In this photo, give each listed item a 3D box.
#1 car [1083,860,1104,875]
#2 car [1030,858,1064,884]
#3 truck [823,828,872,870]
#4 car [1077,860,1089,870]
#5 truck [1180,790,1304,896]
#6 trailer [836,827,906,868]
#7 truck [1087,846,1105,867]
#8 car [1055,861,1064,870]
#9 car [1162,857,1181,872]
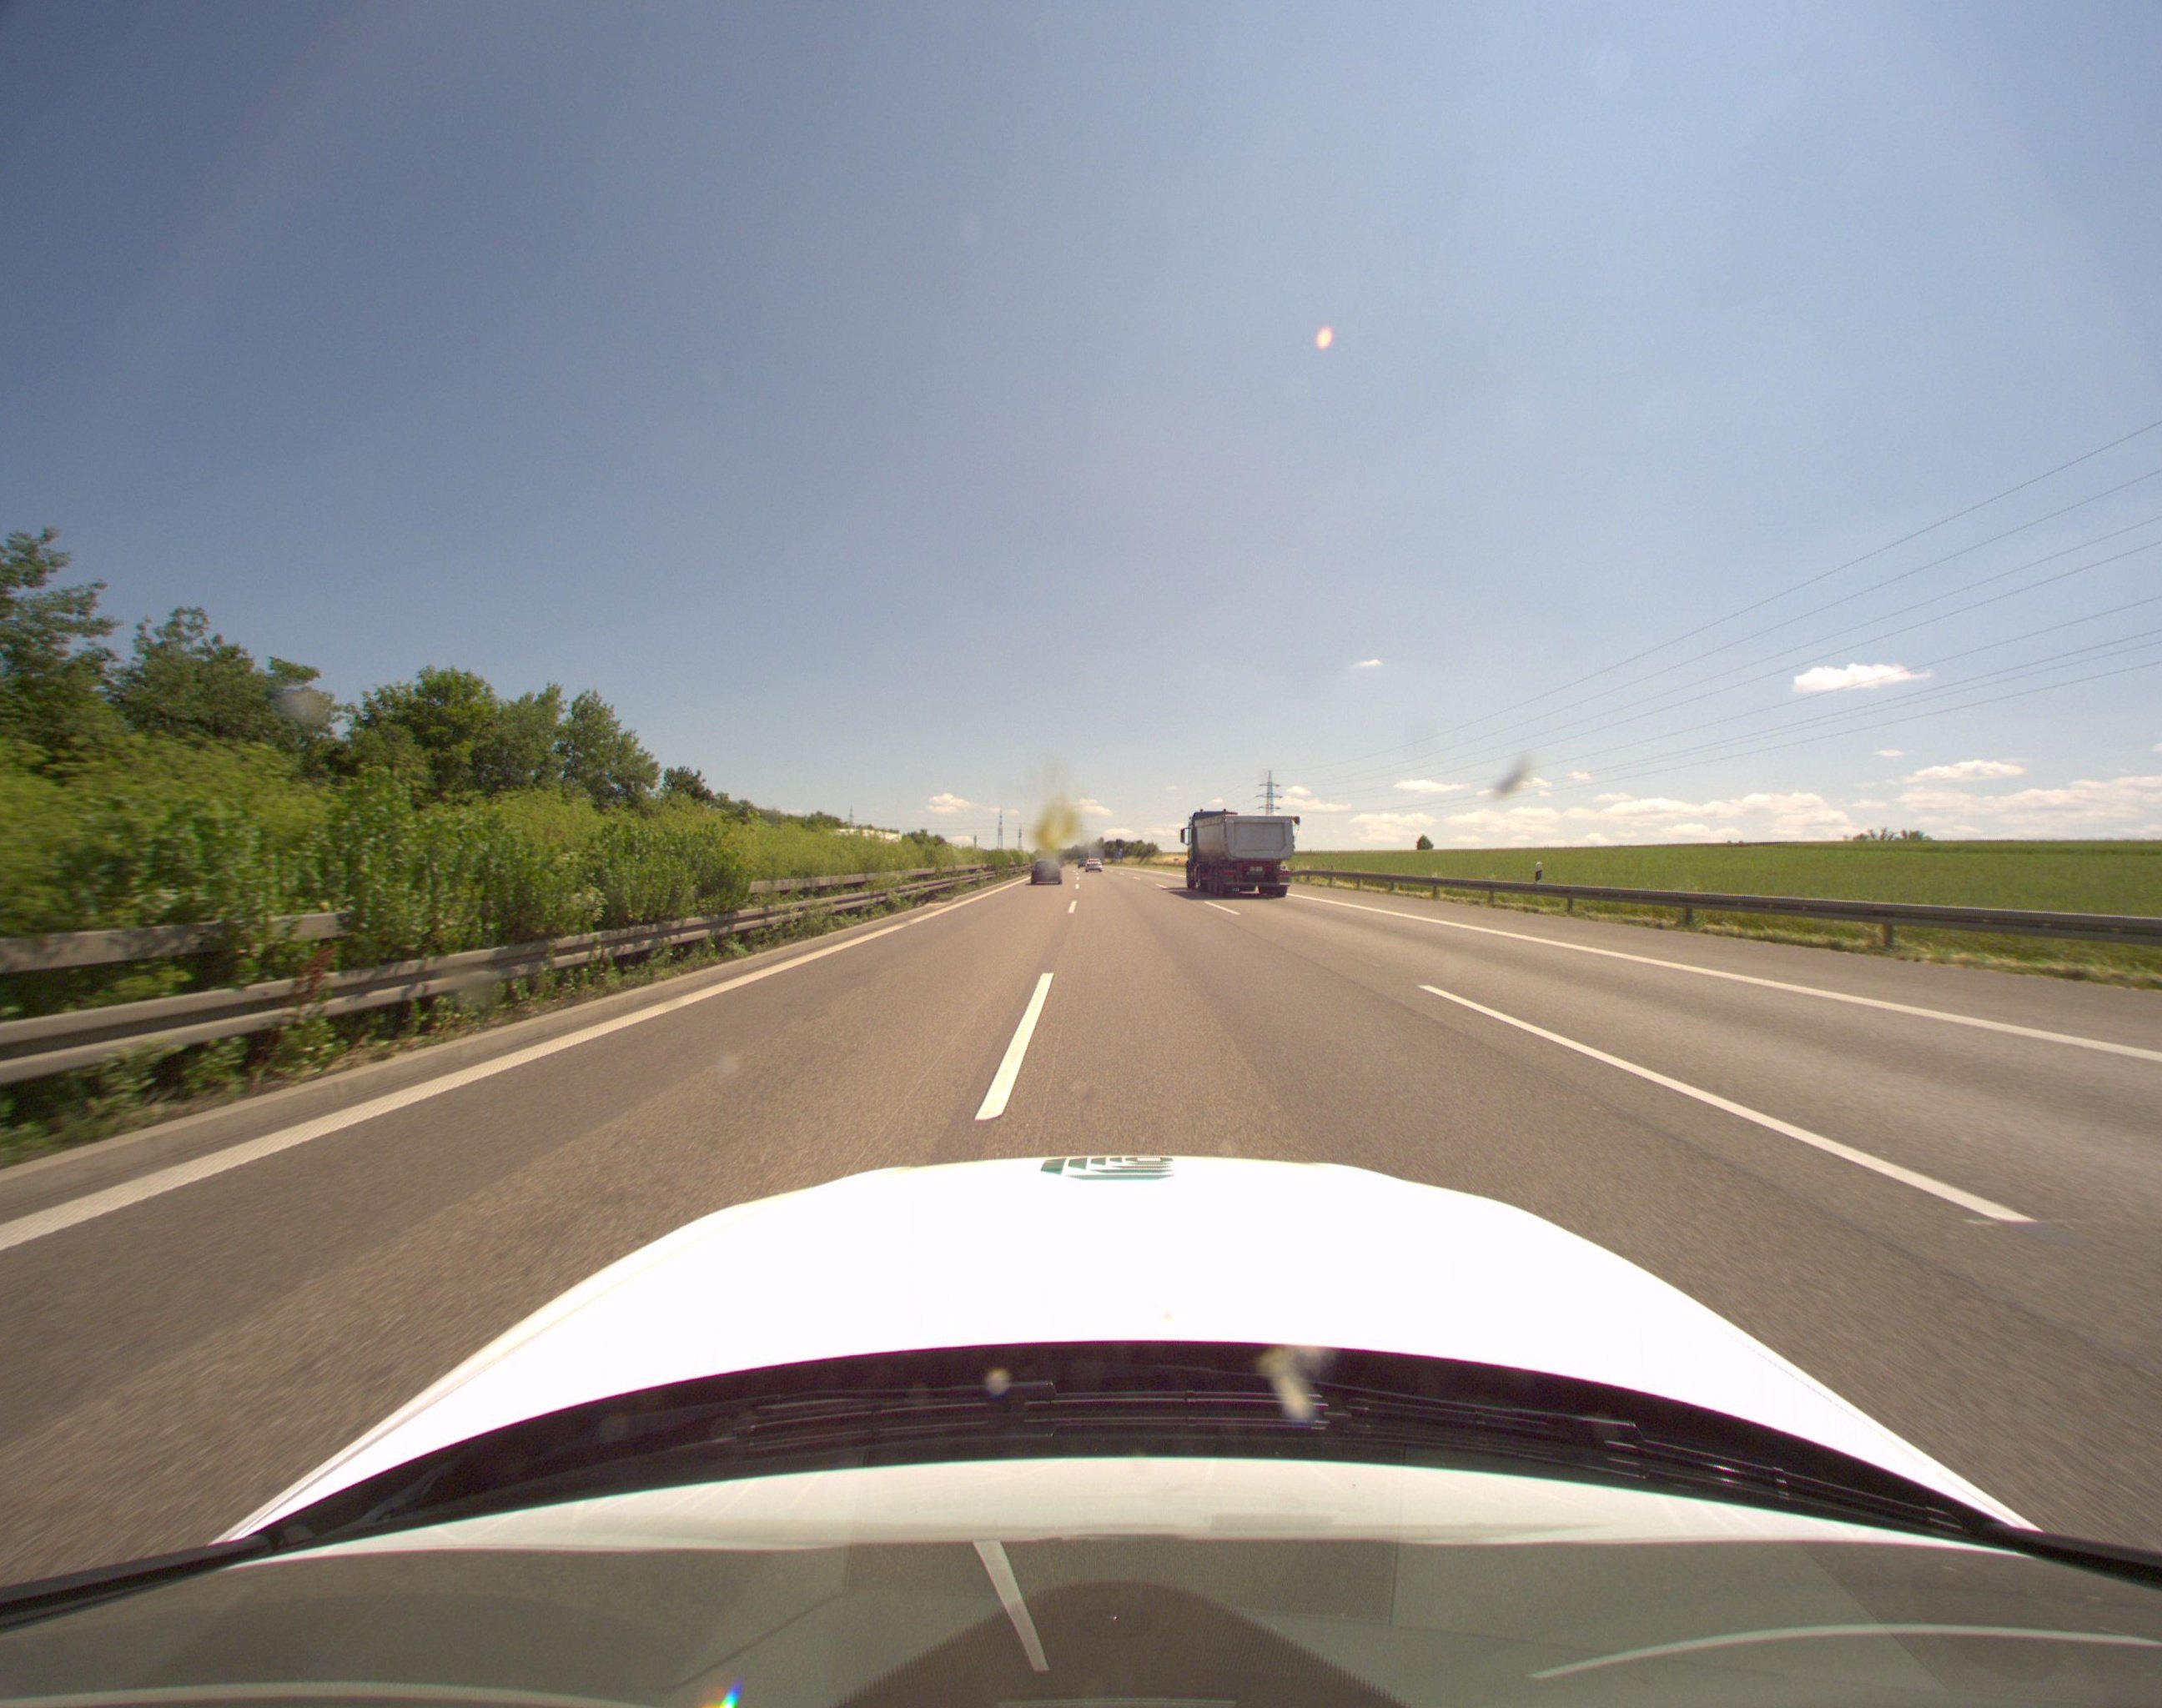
[{"bbox_3d":[1.355,1.474,88.873,1.817,1.541,3.907,-1,-1,-5],"label":"car"},{"bbox_3d":[-1.950,0.980,47.704,1.750,1.429,4.001,-1,-1,1],"label":"car"},{"bbox_3d":[-19.435,-0.416,68.045,2.589,3.351,5.044,-1,-1,0],"label":"truck"},{"bbox_3d":[0.293,1.753,129.313,1.833,1.541,3.914,-1,-1,0],"label":"car"},{"bbox_3d":[6.493,-0.343,35.339,2.856,3.724,12.761,-1,0,0],"label":"truck"},{"bbox_3d":[-19.462,-0.497,76.915,2.589,3.443,15.825,-1,0,0],"label":"trailer"},{"bbox_3d":[2.844,0.507,157.169,3.211,3.924,9.056,0,-1,-1],"label":"truck"},{"bbox_3d":[-4.524,2.474,175.241,1.896,1.926,3.997,-1,-1,-2],"label":"car"},{"bbox_3d":[11.432,1.306,103.187,1.986,1.853,4.001,-1,-1,2],"label":"car"}]
